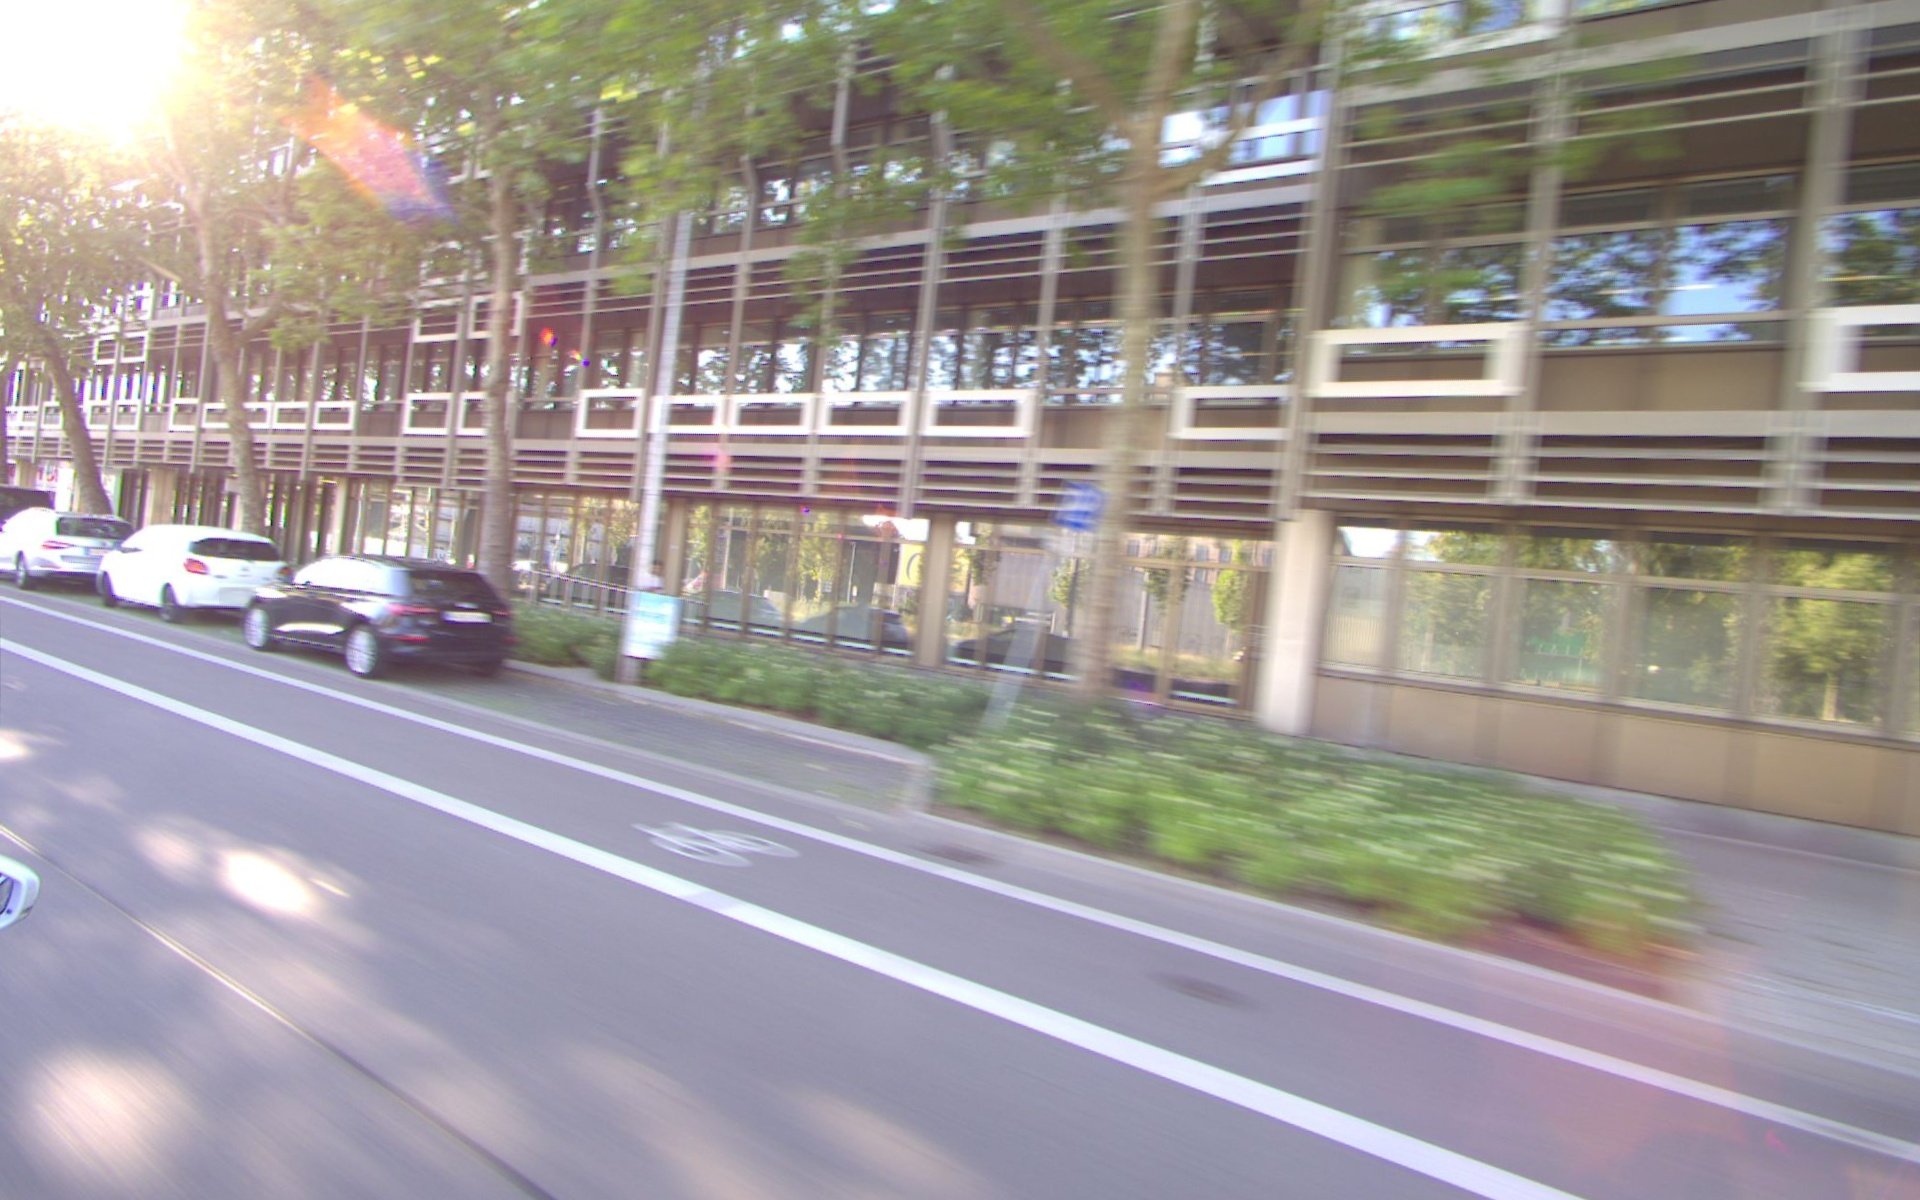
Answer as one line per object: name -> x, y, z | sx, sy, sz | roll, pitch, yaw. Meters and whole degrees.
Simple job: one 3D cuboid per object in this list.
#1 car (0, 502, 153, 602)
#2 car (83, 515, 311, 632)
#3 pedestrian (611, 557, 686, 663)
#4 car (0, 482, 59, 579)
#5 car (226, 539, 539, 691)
car -> -17.541, -1.002, 19.493 | 4.980, 1.534, 1.680 | 7, 2, 36
car -> -12.504, -0.455, 16.436 | 3.810, 1.497, 1.682 | 7, 1, 32
pedestrian -> -5.936, 0.194, 19.170 | 0.833, 1.878, 0.833 | 7, 0, 31
car -> -22.611, -1.749, 22.795 | 5.234, 1.996, 1.830 | 7, 2, 32
car -> -7.582, 0.138, 13.091 | 4.206, 1.437, 1.707 | 7, 1, 32
